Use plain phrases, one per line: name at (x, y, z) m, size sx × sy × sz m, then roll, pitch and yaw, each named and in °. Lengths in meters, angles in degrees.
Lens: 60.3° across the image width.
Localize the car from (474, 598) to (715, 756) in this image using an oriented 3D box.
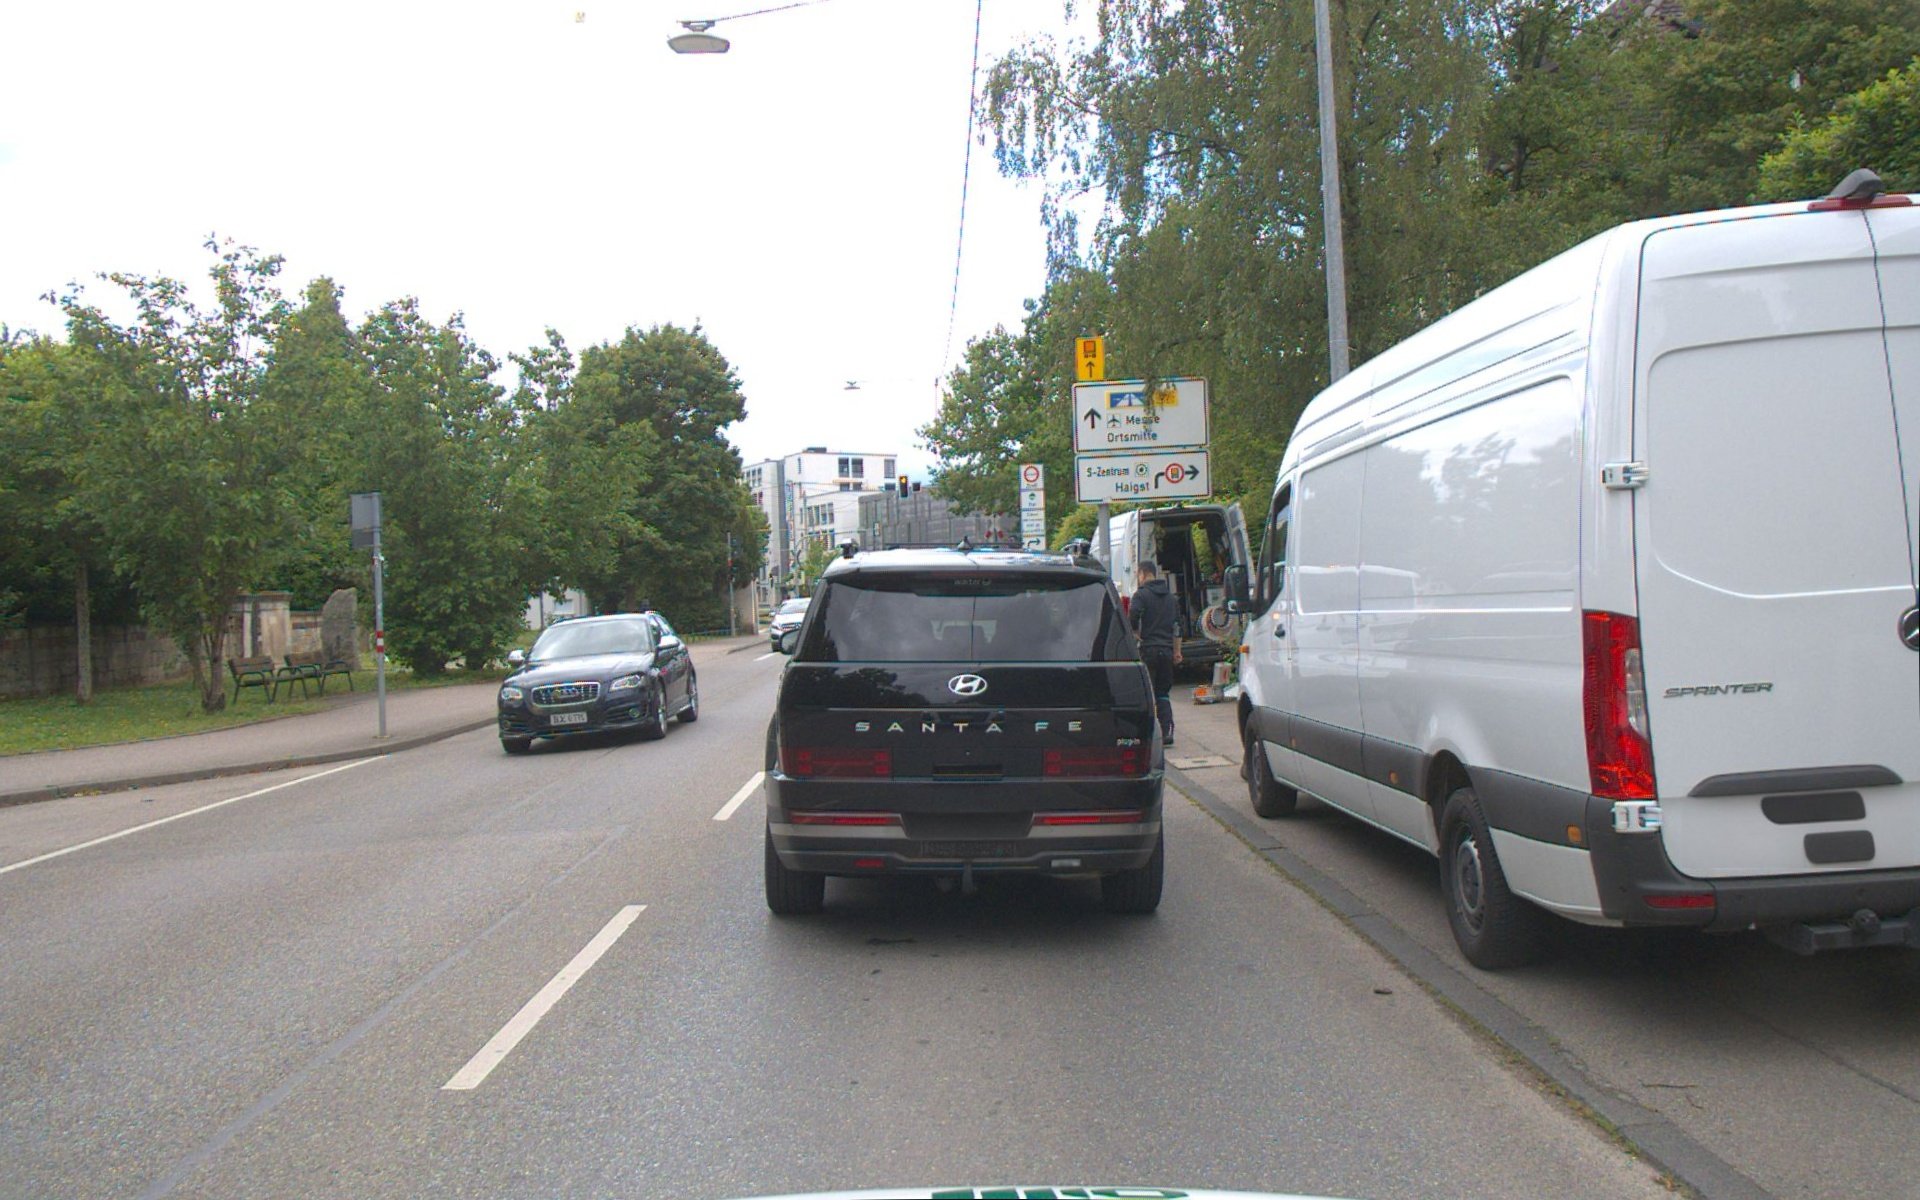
car at (-4.070, 0.789, 19.094) m, size 1.822 × 1.478 × 4.110 m, roll -4°, pitch 0°, yaw -1°

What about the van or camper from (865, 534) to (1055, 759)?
van or camper at (-0.028, 0.428, 17.480) m, size 1.719 × 2.049 × 3.999 m, roll -2°, pitch 0°, yaw -1°

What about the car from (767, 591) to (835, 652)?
car at (-4.875, 0.643, 51.016) m, size 1.749 × 1.682 × 4.118 m, roll -4°, pitch 0°, yaw -2°

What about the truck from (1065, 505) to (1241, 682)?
truck at (3.143, -0.089, 28.034) m, size 1.904 × 2.606 × 5.212 m, roll -3°, pitch 0°, yaw -4°

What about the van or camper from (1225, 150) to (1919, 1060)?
van or camper at (2.894, -0.014, 8.176) m, size 1.953 × 2.665 × 6.540 m, roll -2°, pitch 0°, yaw -1°

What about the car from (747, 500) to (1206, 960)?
car at (0.040, 0.517, 8.685) m, size 1.851 × 1.851 × 3.999 m, roll 0°, pitch 0°, yaw -1°

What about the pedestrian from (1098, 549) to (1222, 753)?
pedestrian at (1.887, 0.470, 15.691) m, size 0.746 × 1.828 × 0.867 m, roll -4°, pitch 0°, yaw -20°

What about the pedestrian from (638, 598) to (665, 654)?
pedestrian at (-9.729, 0.821, 52.180) m, size 0.724 × 1.745 × 0.791 m, roll -2°, pitch 0°, yaw -8°
